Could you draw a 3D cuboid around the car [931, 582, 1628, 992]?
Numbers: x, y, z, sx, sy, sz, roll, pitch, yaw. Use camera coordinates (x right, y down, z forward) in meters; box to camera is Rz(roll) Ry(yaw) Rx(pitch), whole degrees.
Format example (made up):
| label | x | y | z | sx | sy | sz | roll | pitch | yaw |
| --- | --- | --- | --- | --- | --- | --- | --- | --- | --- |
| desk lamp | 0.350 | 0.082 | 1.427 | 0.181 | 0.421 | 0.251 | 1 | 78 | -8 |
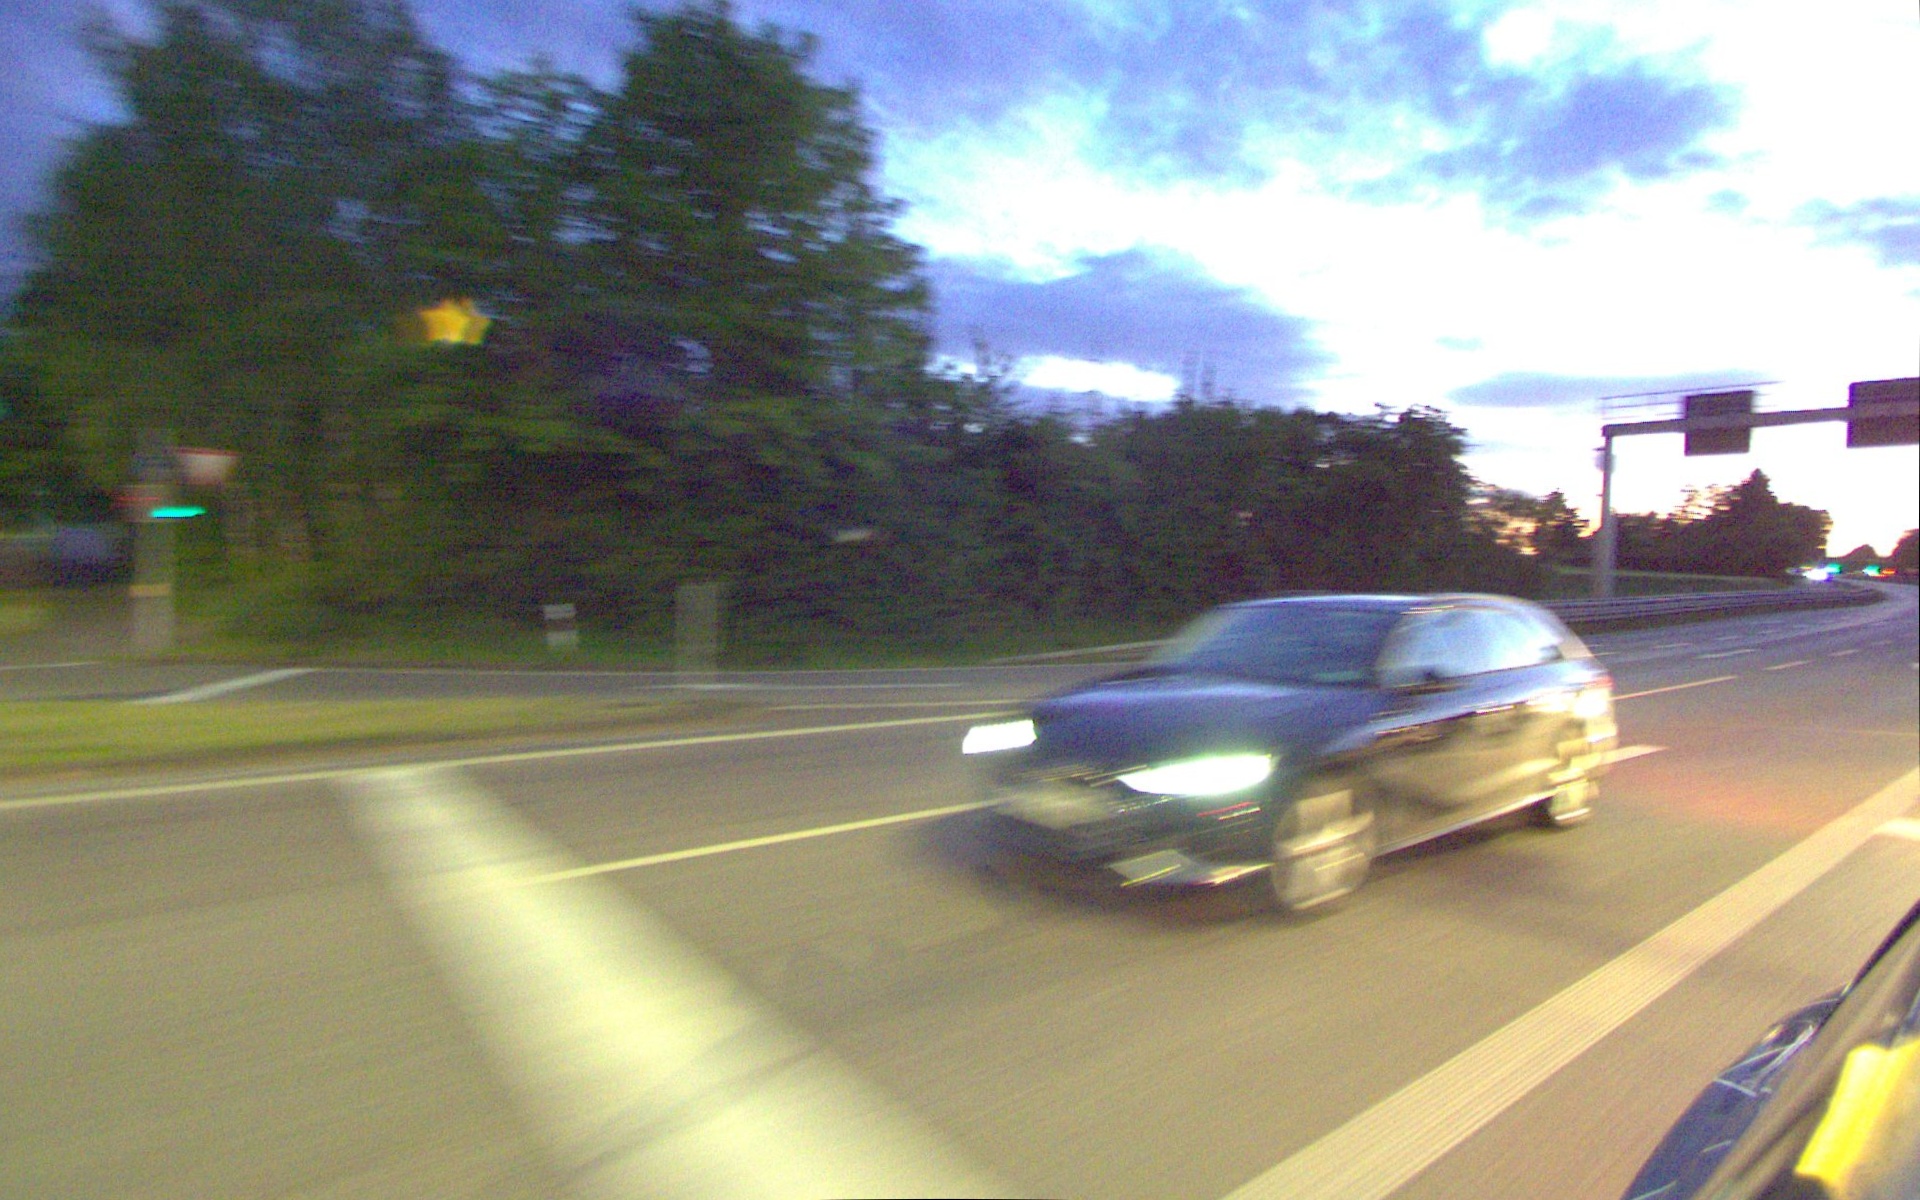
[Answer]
| label | x | y | z | sx | sy | sz | roll | pitch | yaw |
| --- | --- | --- | --- | --- | --- | --- | --- | --- | --- |
| car | 2.108 | 0.639 | 5.787 | 4.456 | 1.461 | 1.793 | -1 | 1 | -42 |
